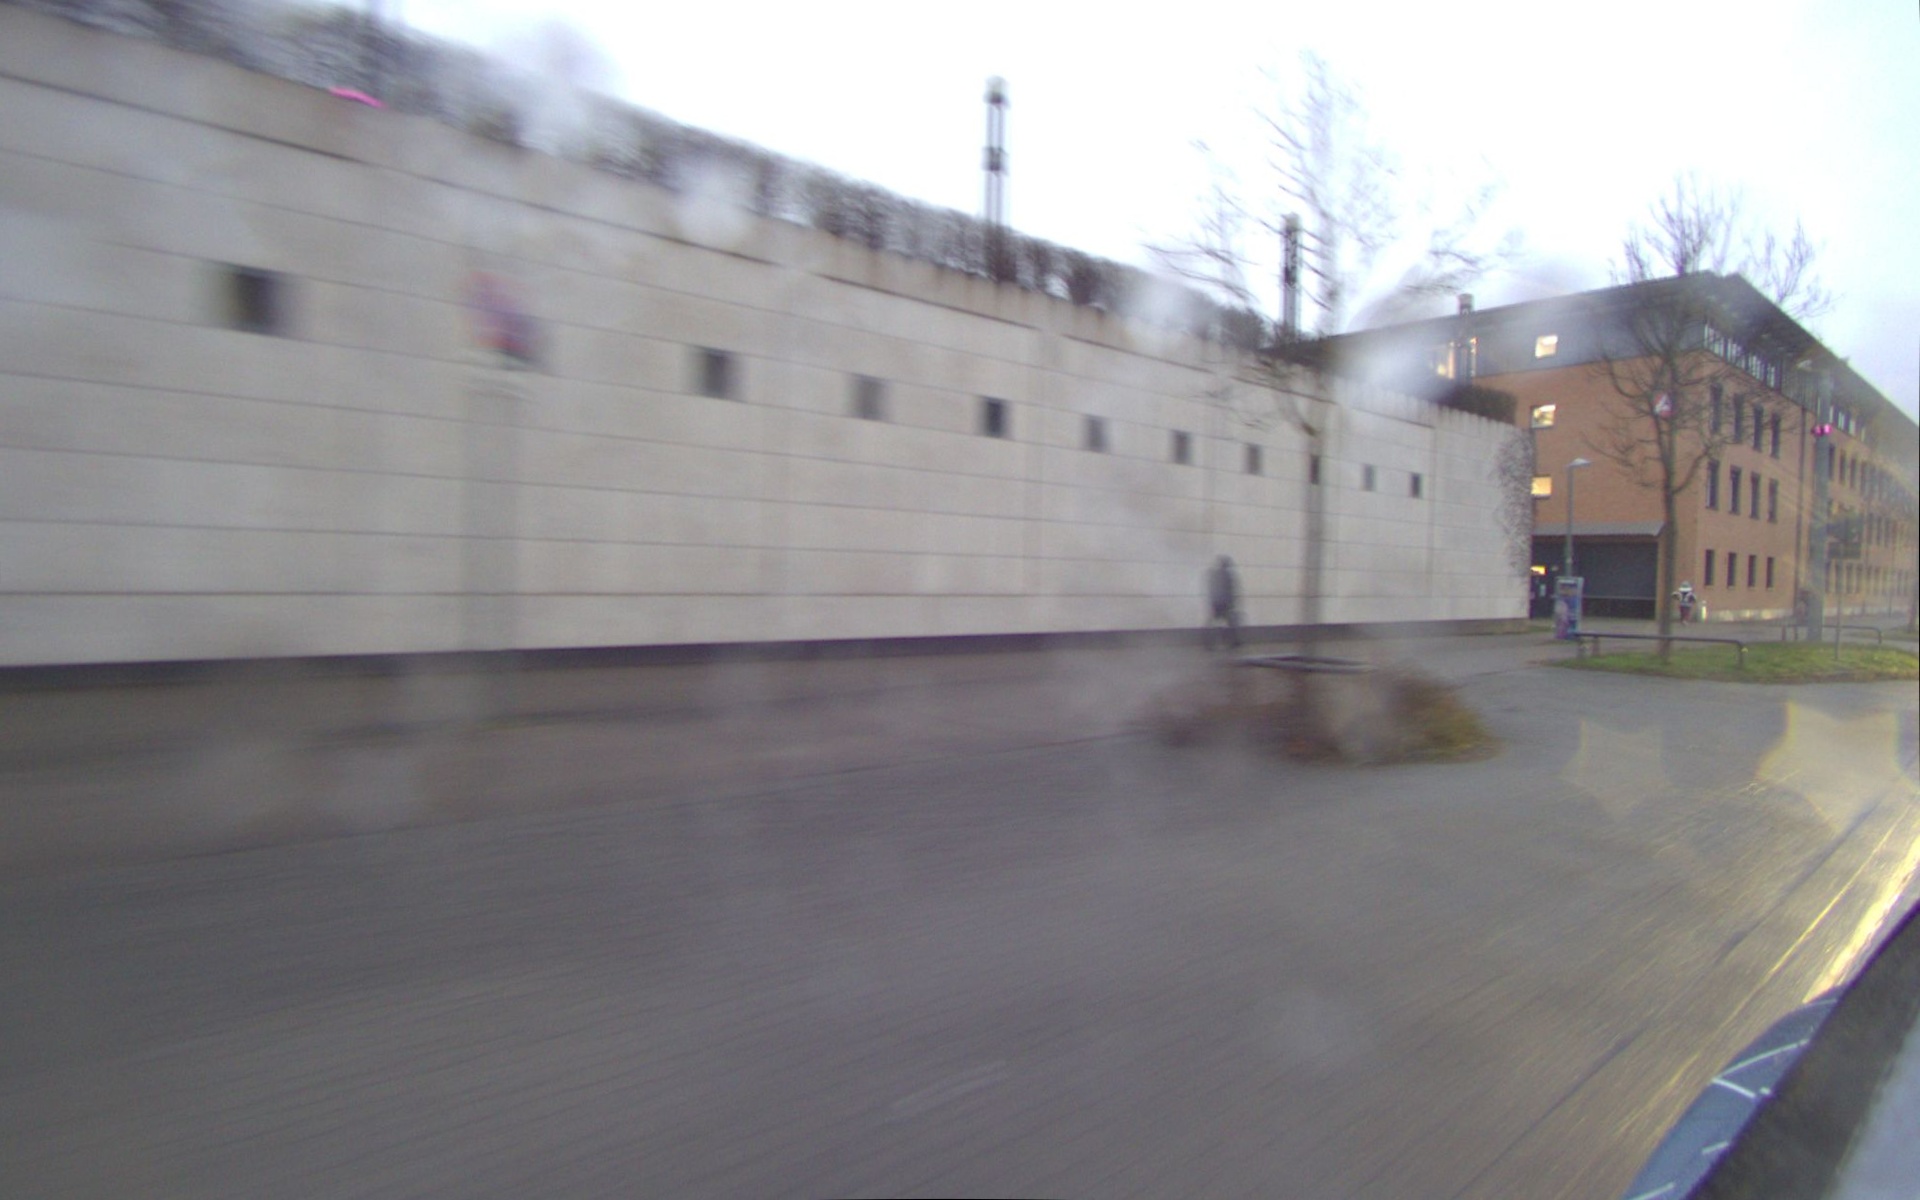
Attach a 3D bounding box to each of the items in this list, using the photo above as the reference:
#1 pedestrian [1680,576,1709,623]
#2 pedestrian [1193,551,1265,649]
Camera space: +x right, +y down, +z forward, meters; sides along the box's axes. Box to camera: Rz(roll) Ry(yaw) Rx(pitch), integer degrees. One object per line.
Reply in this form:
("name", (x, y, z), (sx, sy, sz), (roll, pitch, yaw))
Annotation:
("pedestrian", (26.183, -0.014, 36.066), (1.049, 1.630, 0.621), (0, 1, -44))
("pedestrian", (4.634, -0.020, 17.428), (0.683, 1.638, 0.939), (0, 2, -43))
